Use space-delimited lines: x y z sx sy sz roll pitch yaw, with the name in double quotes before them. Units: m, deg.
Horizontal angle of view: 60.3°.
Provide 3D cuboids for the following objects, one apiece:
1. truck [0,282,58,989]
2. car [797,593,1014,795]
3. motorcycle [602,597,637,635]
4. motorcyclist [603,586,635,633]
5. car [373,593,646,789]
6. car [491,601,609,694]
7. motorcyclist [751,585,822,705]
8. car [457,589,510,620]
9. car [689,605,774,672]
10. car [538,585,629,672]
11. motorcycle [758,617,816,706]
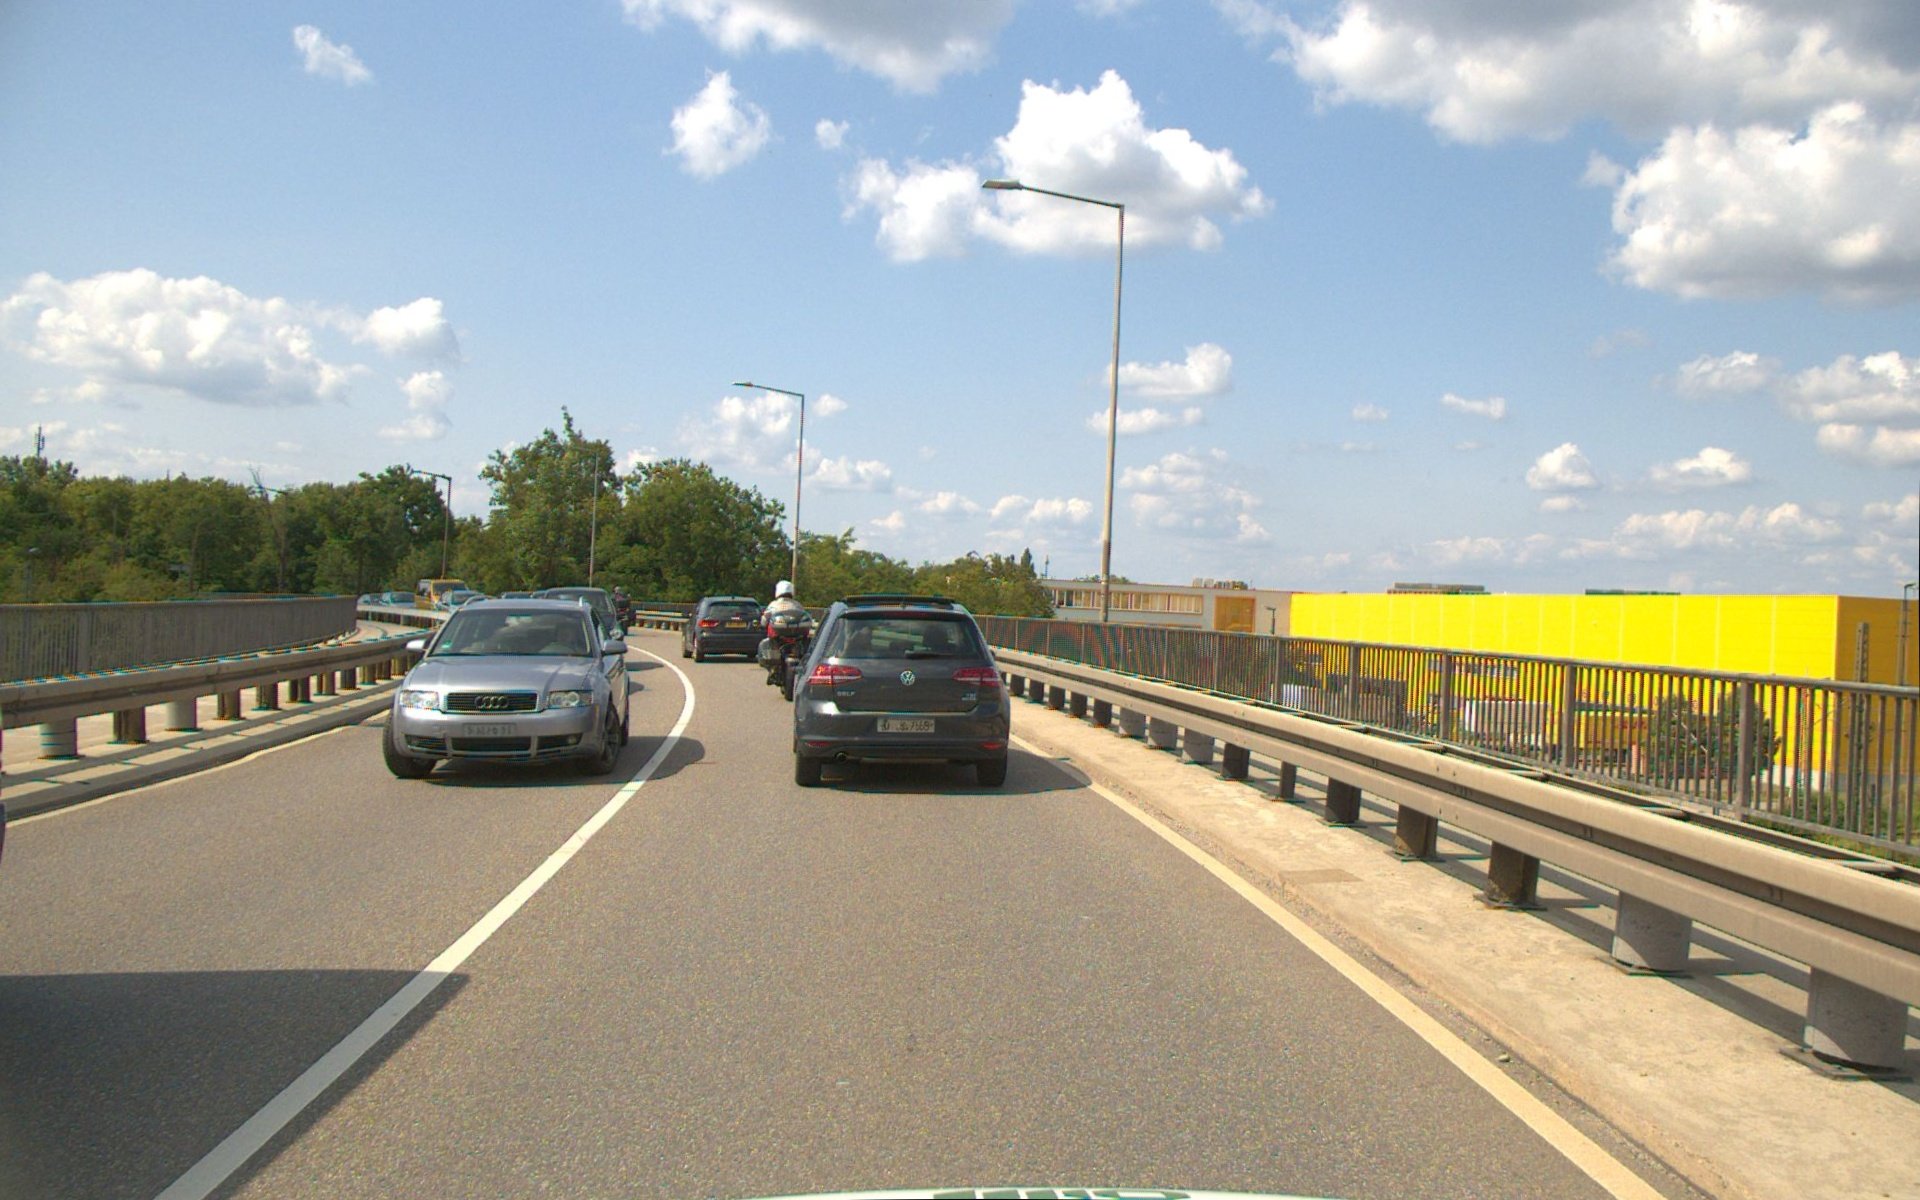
"truck" -4.341 0.137 3.361 1.953 2.551 5.945 0 0 -2
"car" -0.593 0.721 14.367 1.610 1.505 3.867 1 0 -6
"motorcycle" -11.884 0.540 57.618 0.874 1.269 2.385 1 0 -20
"motorcyclist" -11.895 0.332 57.685 0.951 1.624 1.118 1 0 -19
"car" -3.889 0.709 14.951 1.732 1.485 4.291 -1 0 -7
"car" -6.674 0.728 27.260 1.602 1.368 4.242 -1 0 -11
"motorcyclist" -2.454 0.620 23.525 0.947 1.648 1.123 1 0 -5
"car" -24.240 0.215 84.012 1.794 1.513 3.962 0 1 -29
"car" -5.112 0.842 36.750 1.652 1.412 3.728 0 -1 -11
"car" -7.556 0.525 33.287 1.654 1.624 4.269 -1 0 -13
"motorcycle" -2.460 0.850 23.606 0.774 1.152 2.396 1 0 -6
